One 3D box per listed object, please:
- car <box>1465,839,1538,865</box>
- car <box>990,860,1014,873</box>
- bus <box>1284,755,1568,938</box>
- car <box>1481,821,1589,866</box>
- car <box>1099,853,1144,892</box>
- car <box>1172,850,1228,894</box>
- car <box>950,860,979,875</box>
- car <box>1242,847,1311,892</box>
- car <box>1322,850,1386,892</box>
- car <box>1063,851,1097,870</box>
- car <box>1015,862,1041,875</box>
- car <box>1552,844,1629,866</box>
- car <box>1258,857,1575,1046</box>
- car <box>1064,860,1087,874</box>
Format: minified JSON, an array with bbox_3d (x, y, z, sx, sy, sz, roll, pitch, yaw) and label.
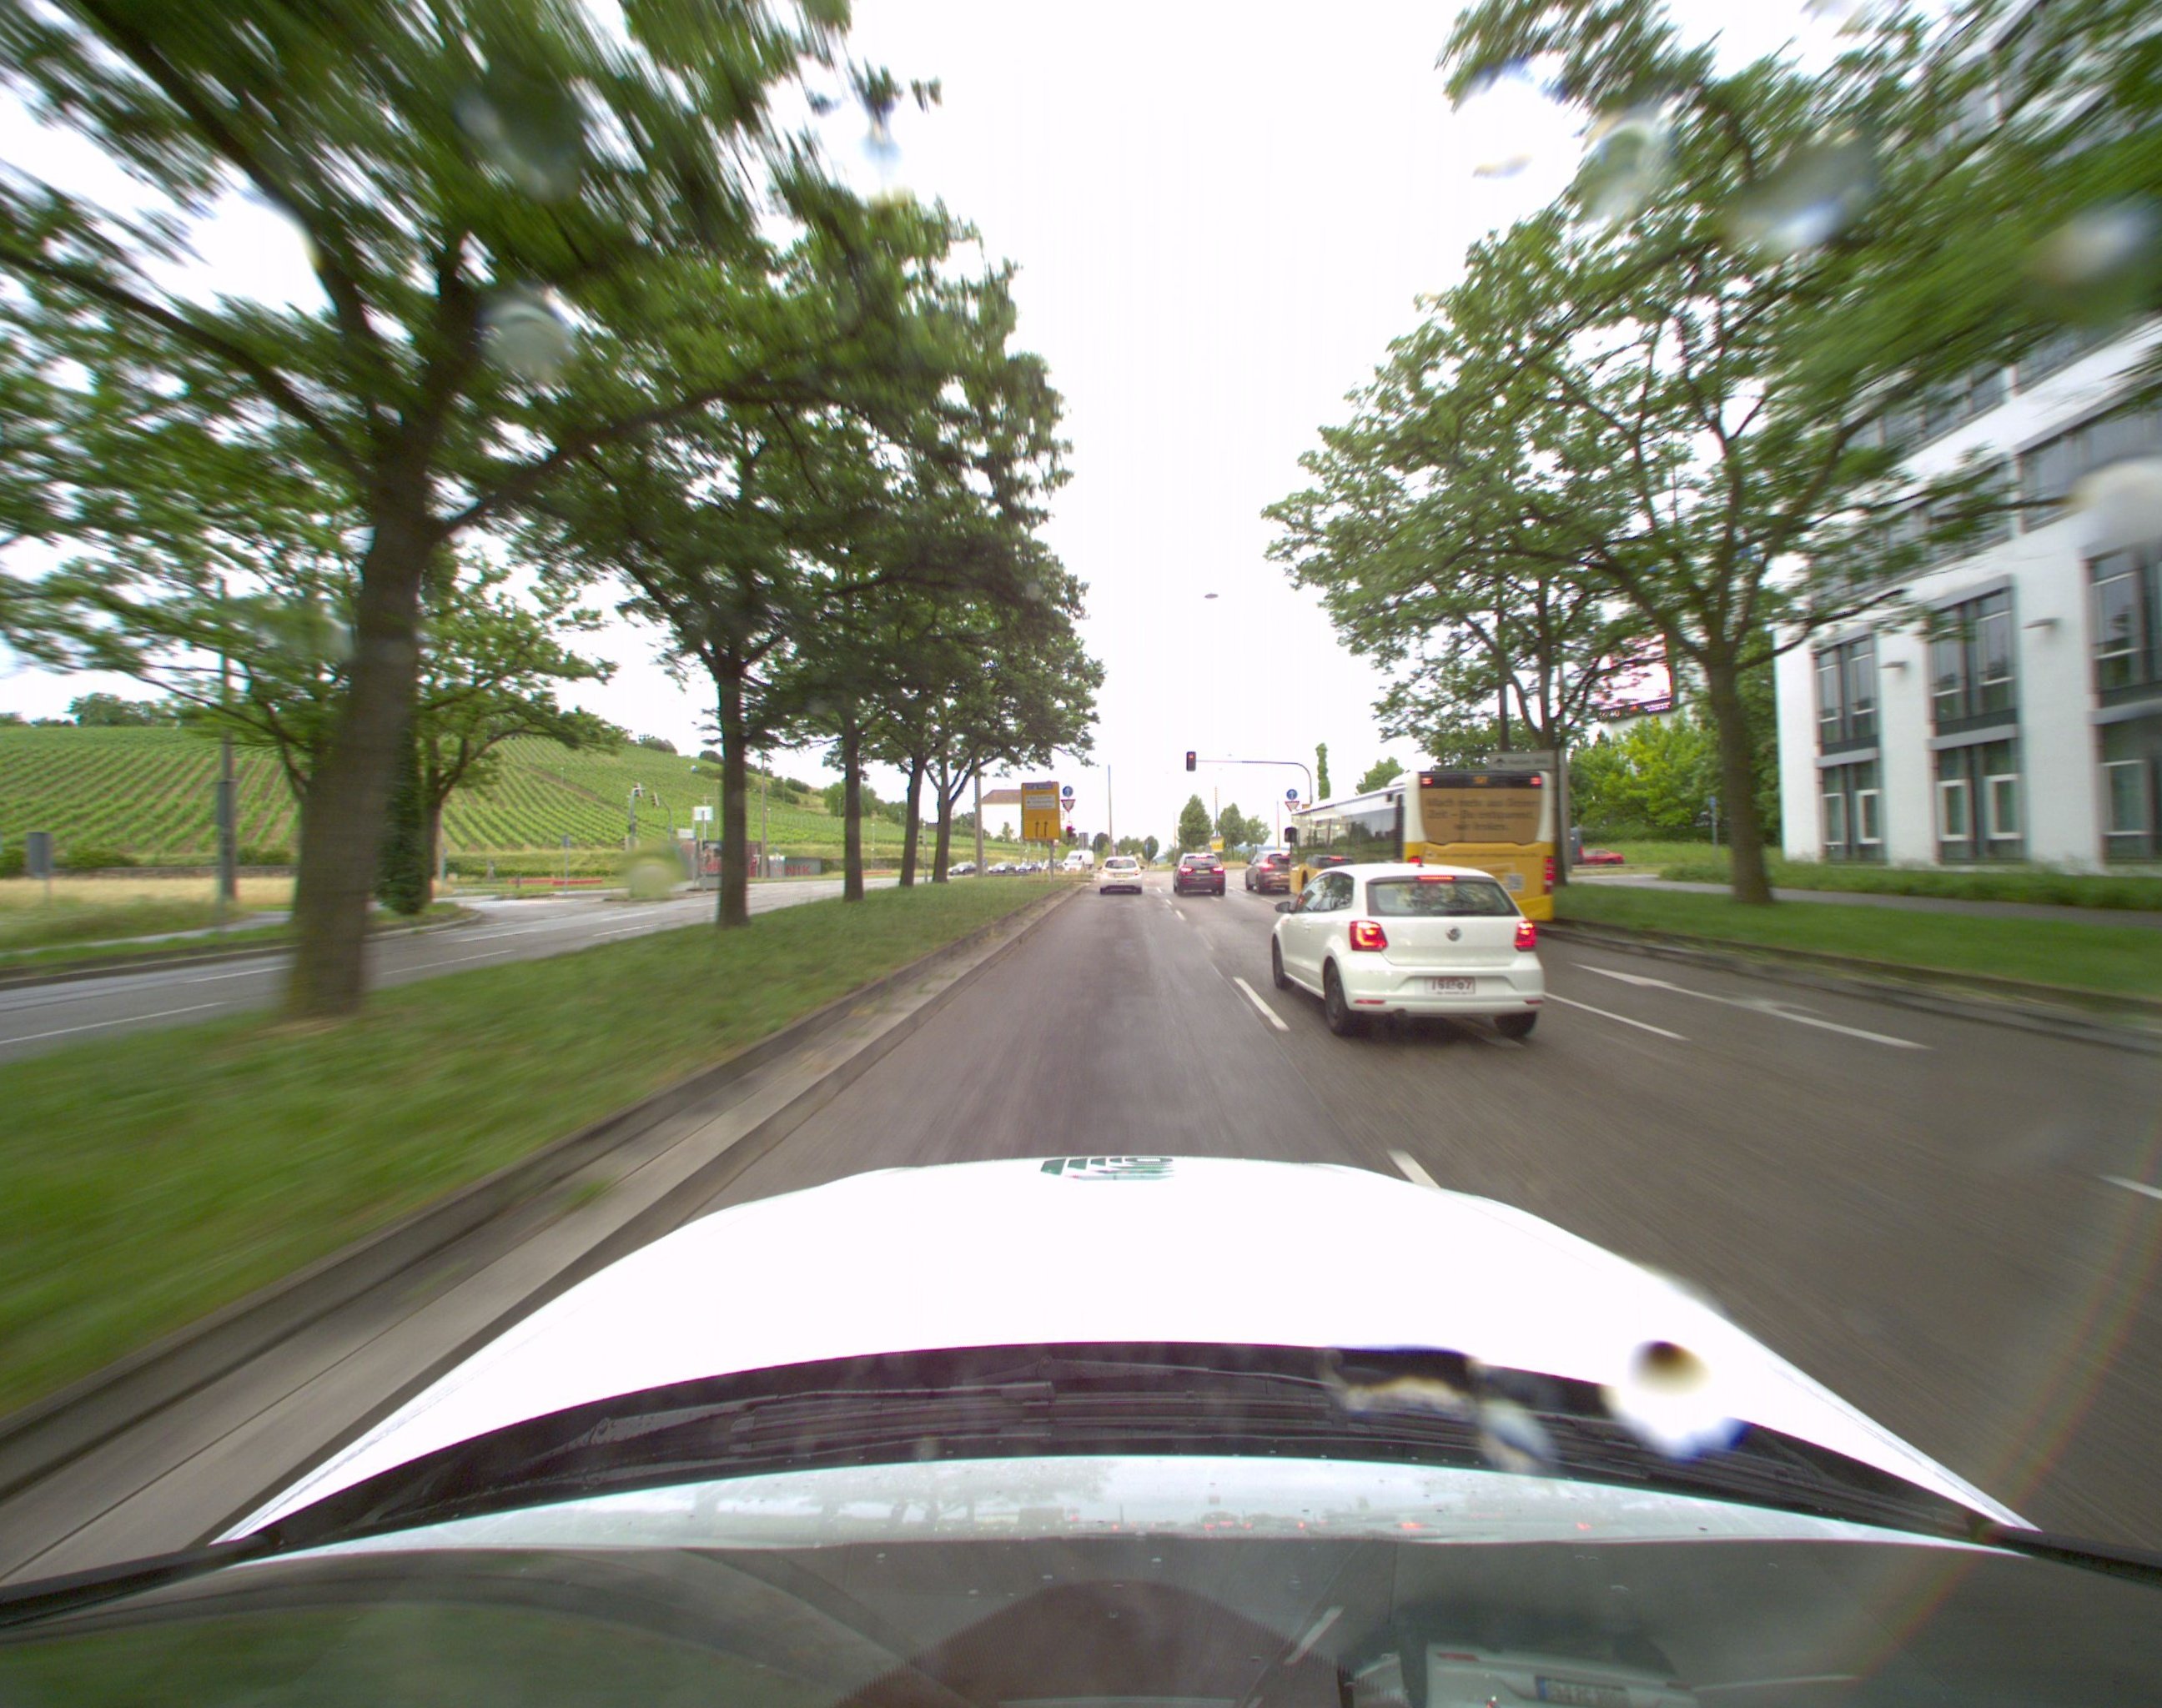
[{"bbox_3d":[26.557,-0.098,51.565,4.011,1.569,1.882,-1,-2,27],"label":"car"},{"bbox_3d":[-8.734,1.372,90.393,1.775,1.395,3.892,0,-1,10],"label":"car"},{"bbox_3d":[7.459,-0.176,20.141,2.715,3.152,12.159,0,0,4],"label":"bus"},{"bbox_3d":[29.502,-0.625,53.058,5.952,2.741,2.094,-1,-2,30],"label":"car"},{"bbox_3d":[1.686,0.755,33.616,1.710,1.489,4.003,-1,-1,3],"label":"car"},{"bbox_3d":[4.584,0.679,31.911,1.876,1.595,4.117,0,-1,4],"label":"car"},{"bbox_3d":[-12.739,1.454,89.068,1.818,1.623,4.578,0,-1,10],"label":"car"},{"bbox_3d":[7.756,0.568,32.745,1.857,1.674,4.569,-1,1,3],"label":"car"},{"bbox_3d":[10.501,0.634,31.160,1.848,1.498,4.175,0,-1,25],"label":"car"},{"bbox_3d":[-0.098,0.934,111.709,1.975,2.559,6.207,0,-1,29],"label":"car"},{"bbox_3d":[-5.721,1.611,88.230,1.773,1.395,3.896,0,-1,14],"label":"car"},{"bbox_3d":[35.844,0.076,57.404,4.480,1.470,2.176,0,-1,29],"label":"car"},{"bbox_3d":[2.985,0.765,8.155,1.734,1.432,3.813,0,-1,2],"label":"car"},{"bbox_3d":[-0.589,1.403,88.752,1.765,1.425,4.385,-2,-1,9],"label":"car"}]
